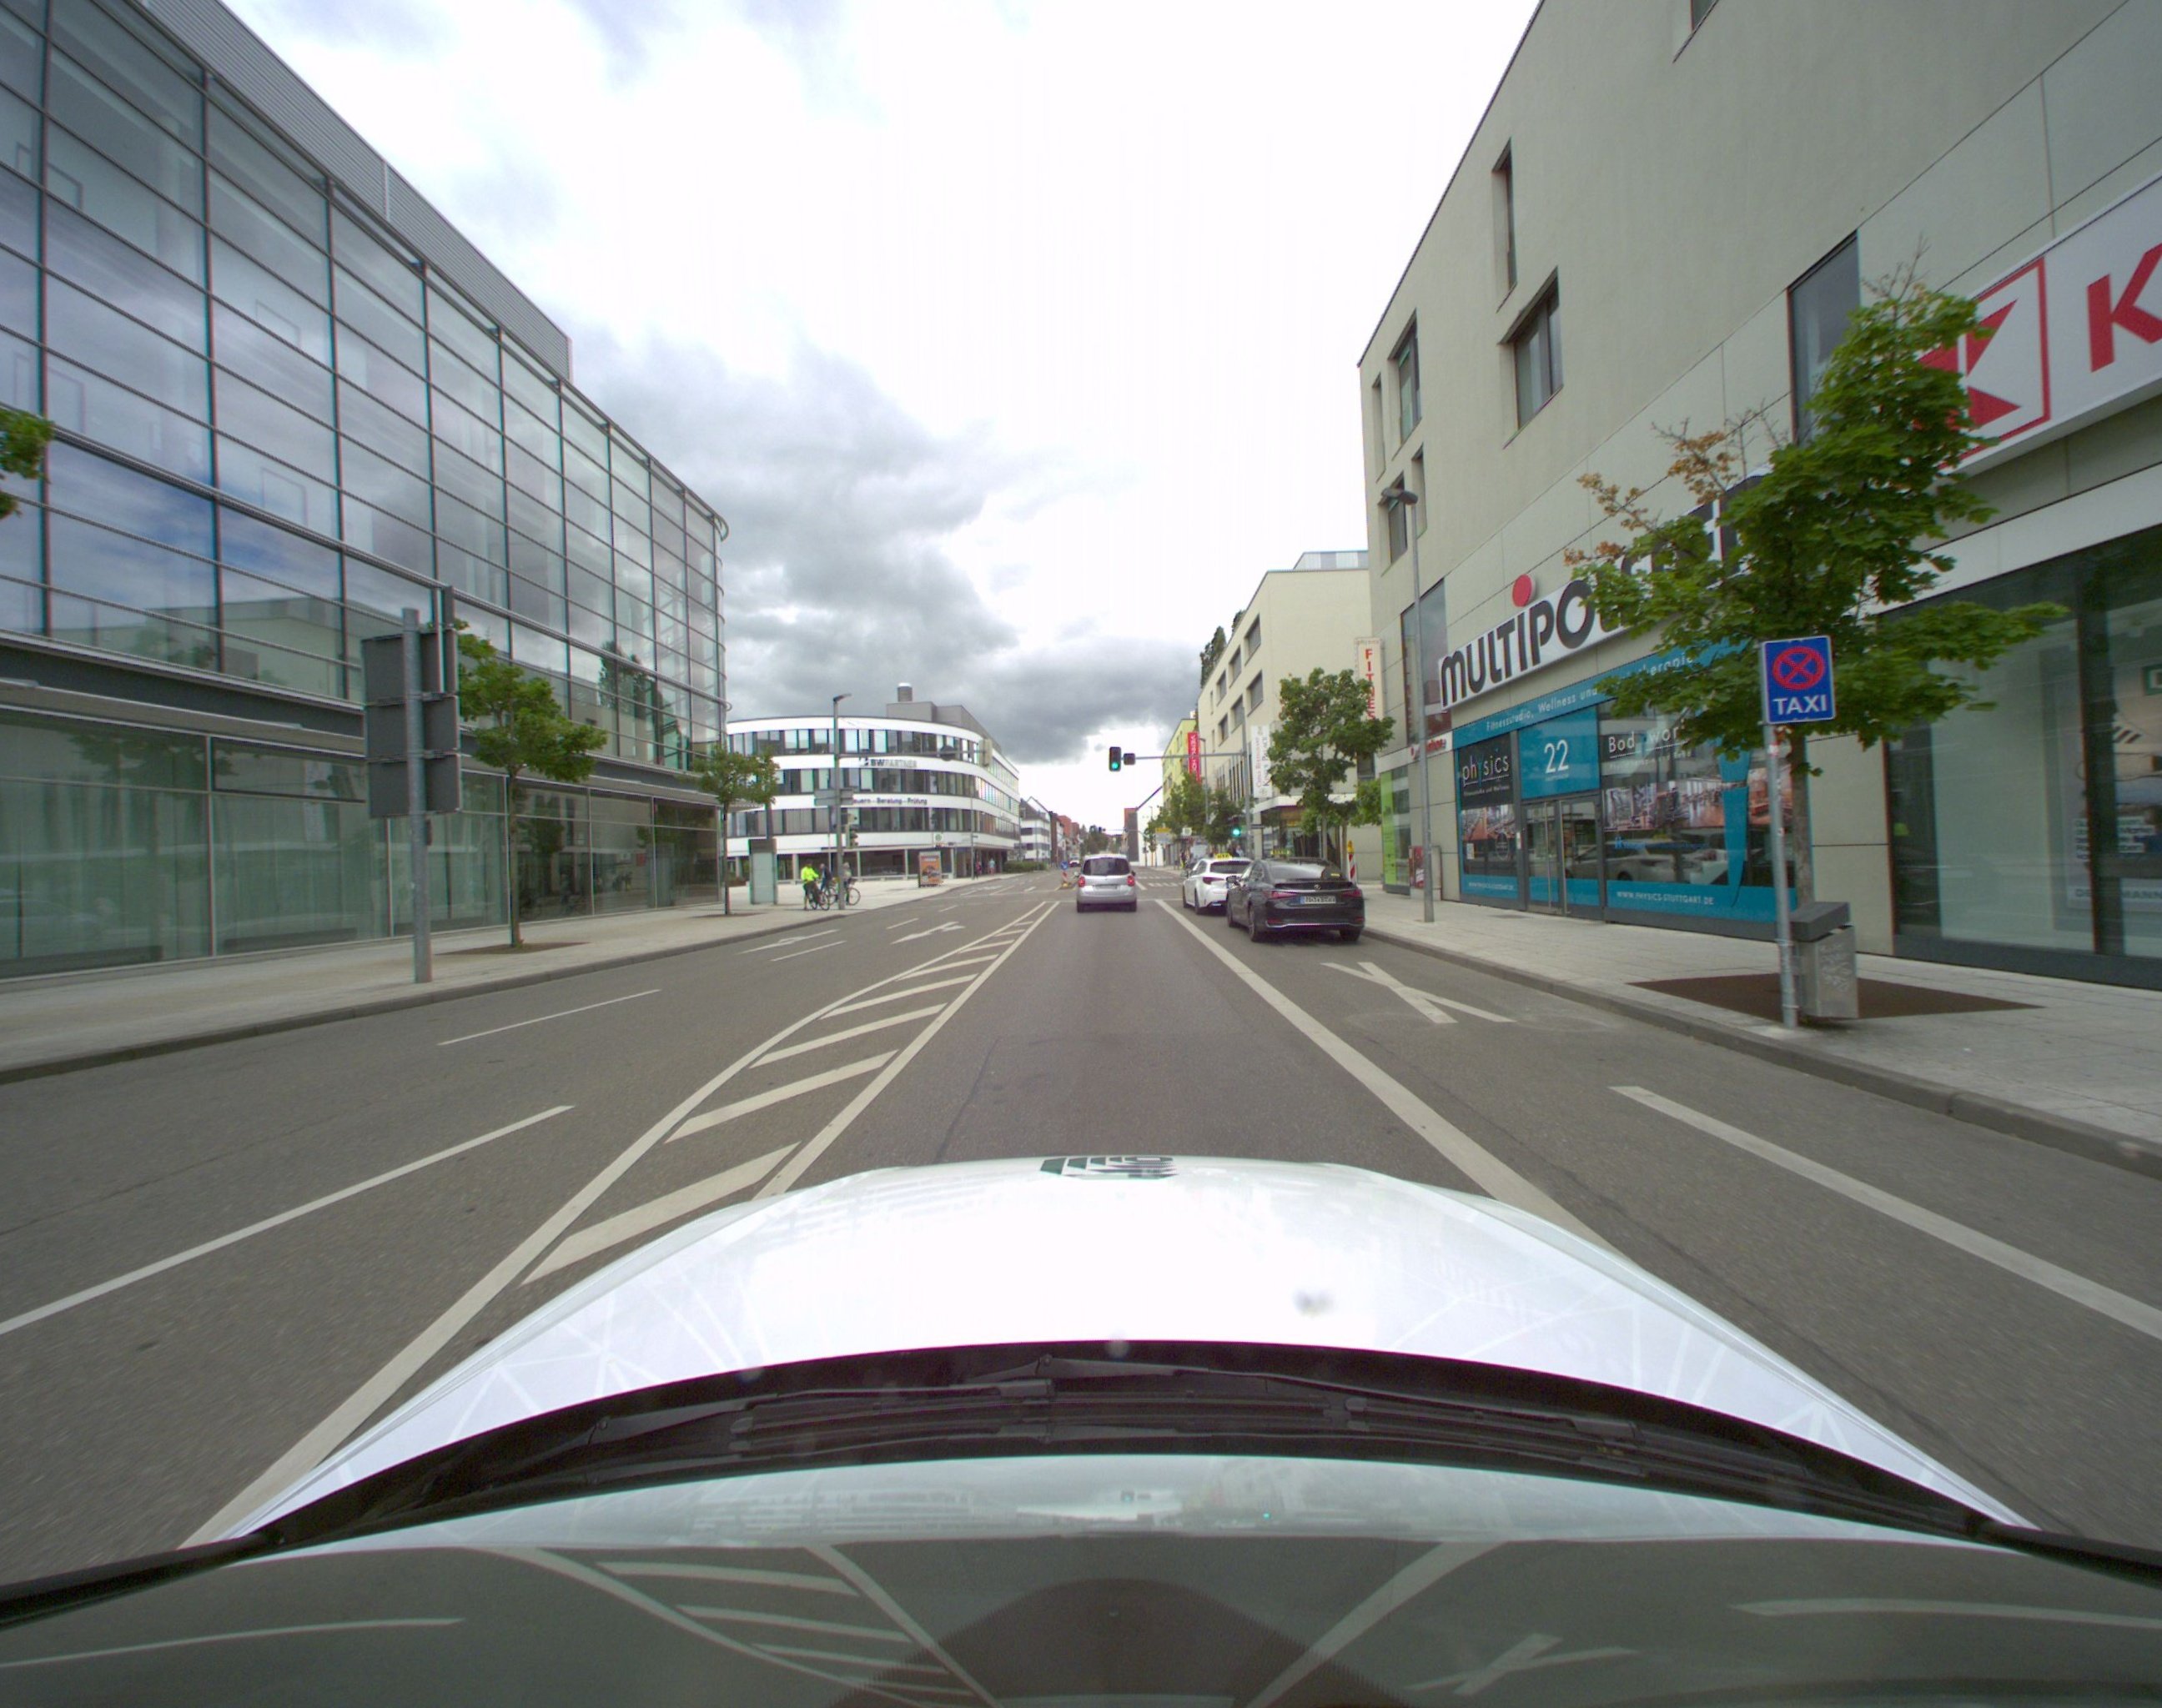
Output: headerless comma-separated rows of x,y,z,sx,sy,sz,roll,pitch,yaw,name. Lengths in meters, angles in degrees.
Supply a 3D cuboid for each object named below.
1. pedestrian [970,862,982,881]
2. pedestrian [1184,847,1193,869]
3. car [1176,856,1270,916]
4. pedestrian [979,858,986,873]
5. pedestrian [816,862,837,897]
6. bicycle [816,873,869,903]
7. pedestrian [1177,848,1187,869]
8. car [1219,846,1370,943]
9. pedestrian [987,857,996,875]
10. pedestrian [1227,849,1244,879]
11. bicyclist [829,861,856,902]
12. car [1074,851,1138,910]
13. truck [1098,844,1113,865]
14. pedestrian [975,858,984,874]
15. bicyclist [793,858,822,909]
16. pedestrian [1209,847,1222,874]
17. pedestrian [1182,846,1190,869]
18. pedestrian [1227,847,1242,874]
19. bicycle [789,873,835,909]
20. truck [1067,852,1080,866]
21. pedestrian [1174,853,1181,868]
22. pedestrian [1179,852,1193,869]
-8.760,1.451,67.767,0.826,1.567,0.814,-1,-1,7,pedestrian
8.013,0.325,60.528,0.576,1.591,0.734,-3,-1,7,pedestrian
3.674,0.791,21.824,1.776,1.425,4.515,-1,-1,1,car
-11.540,1.298,95.430,0.500,1.730,0.619,-3,-1,33,pedestrian
-14.315,1.407,45.763,0.907,1.945,0.742,0,-1,-37,pedestrian
-9.573,1.364,32.724,1.984,1.130,0.641,0,-1,16,bicycle
7.986,0.358,64.246,0.717,1.683,0.734,-3,-1,7,pedestrian
3.810,0.661,15.382,1.730,1.542,4.792,0,-1,2,car
-8.653,1.139,78.504,0.727,1.674,0.932,-1,-1,3,pedestrian
8.338,0.530,43.933,0.738,1.608,0.715,-2,-1,2,pedestrian
-9.598,1.099,32.754,0.775,1.649,0.641,0,-1,17,bicyclist
0.730,0.724,23.598,1.700,1.579,4.001,0,-1,2,car
4.755,0.158,156.753,2.585,3.857,6.852,-1,0,2,truck
-9.959,1.171,79.749,0.727,1.613,0.932,-1,-1,3,pedestrian
-9.928,1.056,29.569,0.752,1.800,0.764,1,-1,-44,bicyclist
8.395,0.410,50.915,0.652,1.669,0.614,-2,-1,2,pedestrian
8.104,0.257,62.873,0.576,1.769,0.858,-3,-1,7,pedestrian
9.626,0.425,51.110,0.741,1.669,0.614,-2,-1,2,pedestrian
-9.816,1.332,29.680,0.752,1.206,2.006,1,-1,-44,bicycle
-1.631,1.135,174.341,2.426,2.954,8.367,0,-1,2,truck
10.641,0.696,89.650,0.693,1.593,0.603,-3,-1,0,pedestrian
7.982,0.494,61.902,0.940,1.259,0.732,-3,-1,-1,pedestrian
